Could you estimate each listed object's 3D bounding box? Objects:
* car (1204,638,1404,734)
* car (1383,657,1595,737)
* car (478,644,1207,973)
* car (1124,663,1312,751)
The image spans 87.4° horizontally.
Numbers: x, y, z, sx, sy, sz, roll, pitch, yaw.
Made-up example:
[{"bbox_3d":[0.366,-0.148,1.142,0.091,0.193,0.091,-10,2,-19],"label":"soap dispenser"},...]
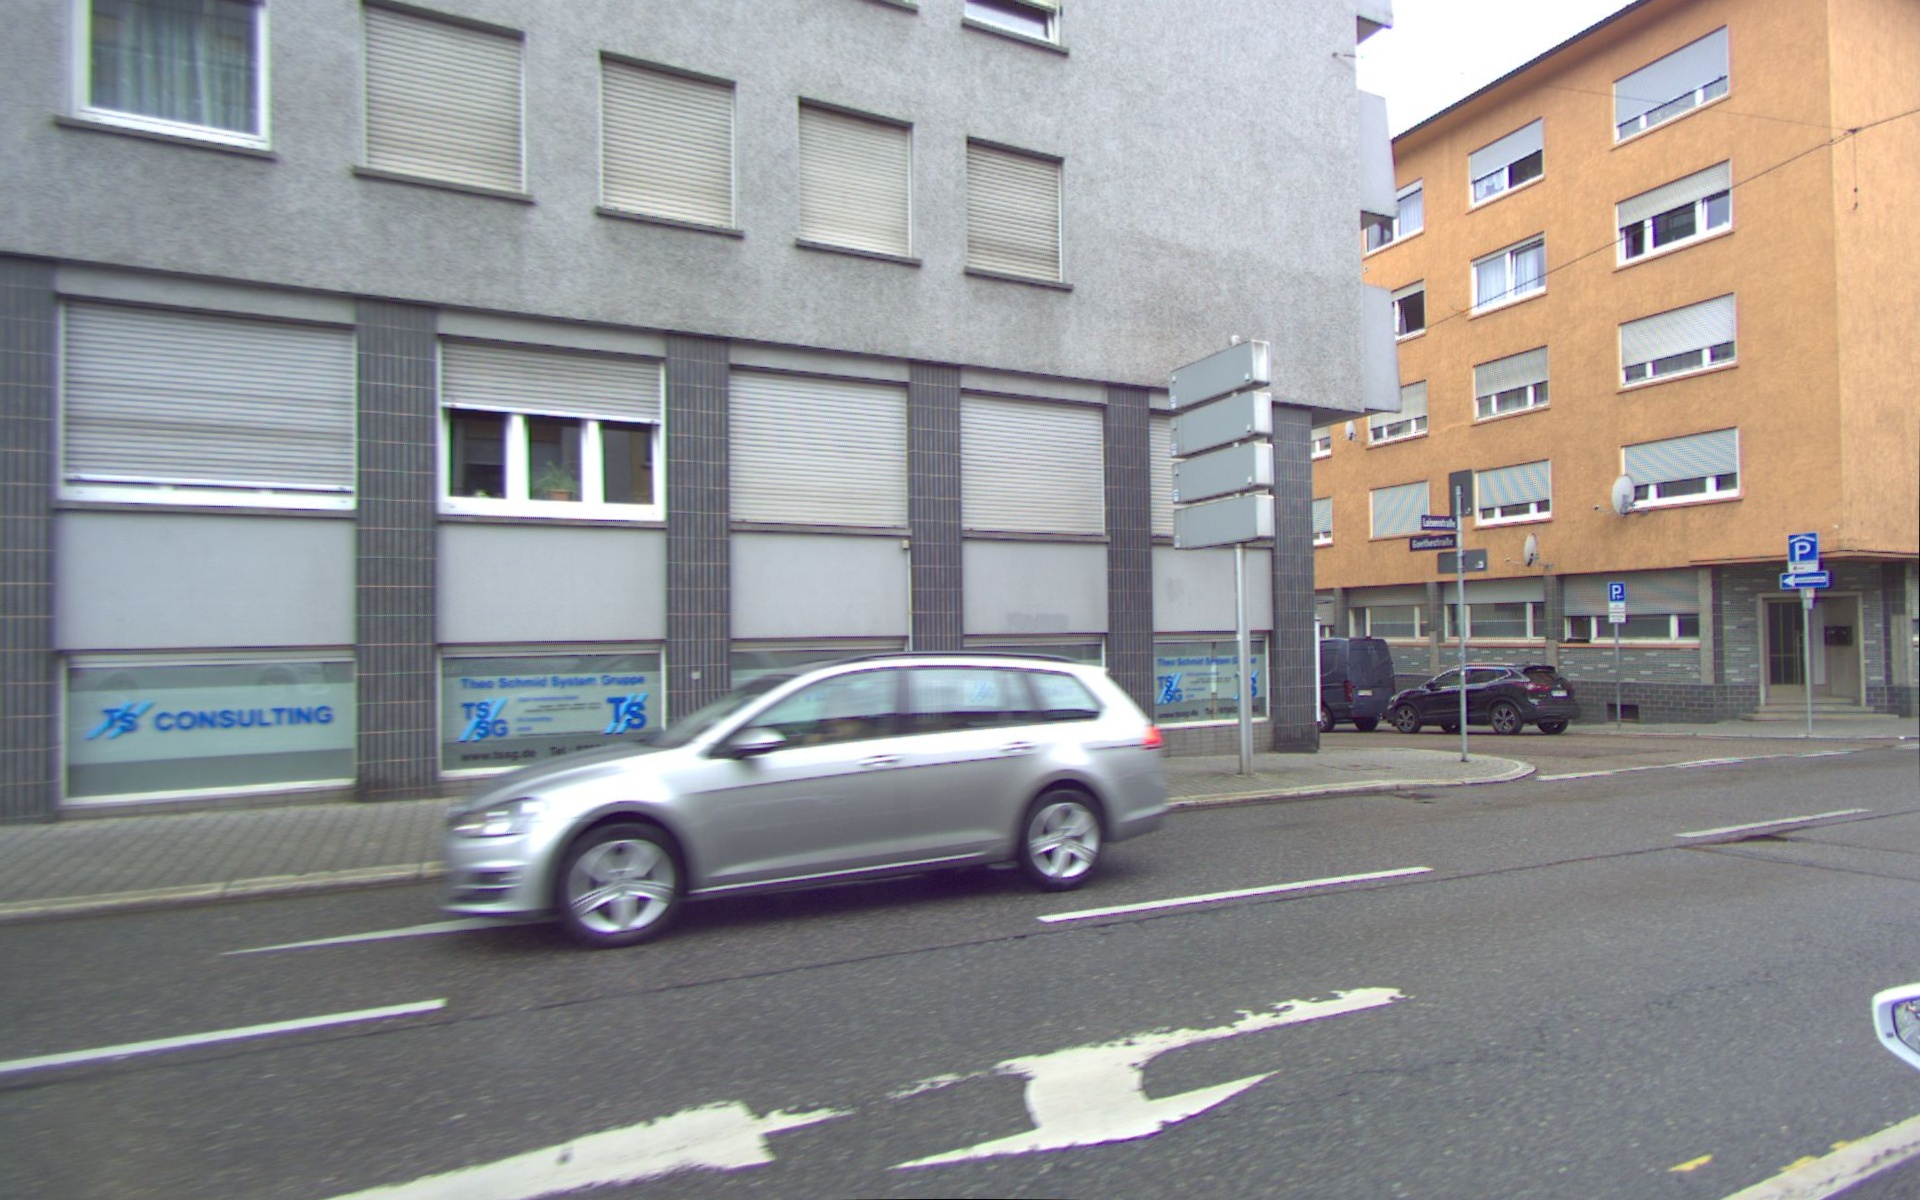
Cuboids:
[{"bbox_3d":[9.634,2.512,28.675,1.960,2.490,5.319,1,-7,-30],"label":"car"},{"bbox_3d":[12.187,2.284,23.438,1.904,1.673,3.979,1,-6,-25],"label":"car"},{"bbox_3d":[-0.711,1.081,6.398,4.239,1.434,1.821,0,-5,-27],"label":"car"},{"bbox_3d":[5.672,2.415,22.625,1.905,1.739,3.976,1,-6,-27],"label":"car"}]
